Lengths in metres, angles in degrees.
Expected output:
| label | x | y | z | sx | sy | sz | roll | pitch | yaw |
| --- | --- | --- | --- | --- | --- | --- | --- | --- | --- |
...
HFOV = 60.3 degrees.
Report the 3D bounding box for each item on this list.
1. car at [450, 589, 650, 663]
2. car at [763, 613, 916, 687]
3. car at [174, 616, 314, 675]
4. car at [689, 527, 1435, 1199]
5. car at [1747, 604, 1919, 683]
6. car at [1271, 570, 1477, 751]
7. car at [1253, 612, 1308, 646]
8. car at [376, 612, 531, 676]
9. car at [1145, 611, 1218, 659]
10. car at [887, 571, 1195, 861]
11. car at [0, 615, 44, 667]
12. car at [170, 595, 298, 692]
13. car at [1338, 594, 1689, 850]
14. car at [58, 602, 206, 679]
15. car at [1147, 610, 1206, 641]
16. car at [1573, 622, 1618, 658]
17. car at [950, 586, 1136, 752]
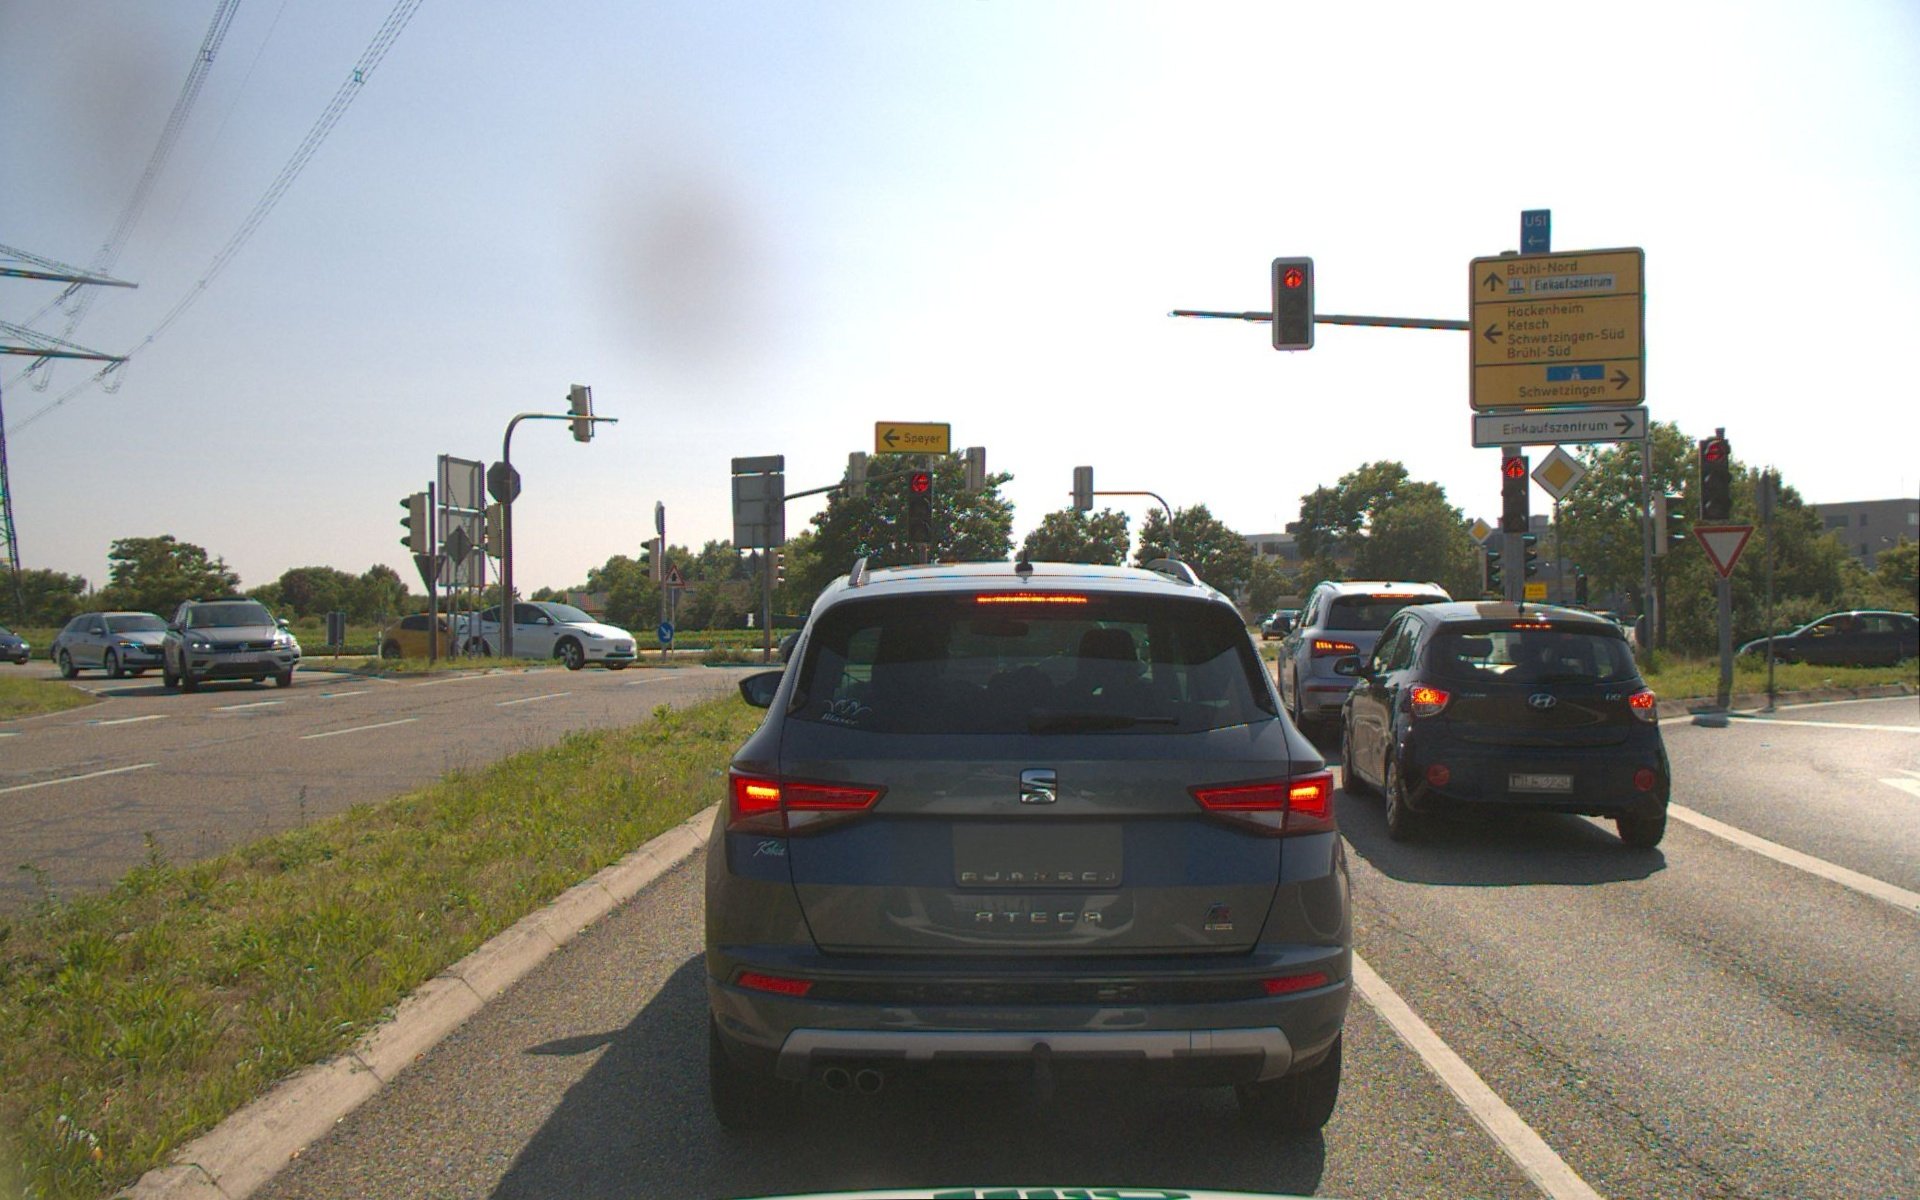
| label | x | y | z | sx | sy | sz | roll | pitch | yaw |
| --- | --- | --- | --- | --- | --- | --- | --- | --- | --- |
| car | -9.876 | 0.622 | 39.780 | 4.653 | 1.680 | 1.818 | -1 | 0 | 27 |
| car | -3.341 | 1.352 | 45.778 | 3.929 | 1.987 | 1.694 | 0 | -1 | 27 |
| car | -21.463 | 1.342 | 49.577 | 3.910 | 1.680 | 1.818 | -1 | 0 | 27 |
| car | 0.217 | 0.656 | 5.656 | 1.706 | 1.596 | 3.623 | 1 | 0 | -1 |
| car | 18.566 | 0.907 | 34.907 | 3.465 | 1.542 | 1.460 | 1 | 0 | 27 |
| car | 4.293 | 0.580 | 17.622 | 1.598 | 1.706 | 3.752 | 1 | 0 | 6 |
| car | 17.157 | 1.536 | 88.474 | 1.841 | 1.702 | 3.765 | 1 | 0 | 28 |
| car | -13.881 | 1.185 | 45.330 | 3.910 | 1.680 | 1.818 | -1 | 0 | 27 |
| car | 8.321 | 1.302 | 61.868 | 1.838 | 1.702 | 3.769 | 1 | 0 | 22 |
| car | 0.463 | 0.664 | 11.145 | 1.706 | 1.596 | 3.624 | 1 | 0 | 0 |
| car | -32.663 | 1.344 | 55.182 | 3.910 | 1.680 | 1.818 | -1 | 0 | 27 |
| car | -13.549 | 0.766 | 30.761 | 1.795 | 1.680 | 3.960 | 0 | 0 | -30 |
| car | 3.627 | 0.711 | 11.382 | 1.598 | 1.473 | 3.297 | 1 | 0 | 6 |
| car | -19.122 | 0.906 | 38.146 | 3.930 | 1.680 | 1.809 | -1 | -1 | 43 |
| car | 11.167 | 1.307 | 85.020 | 1.686 | 1.524 | 3.762 | 1 | 0 | 30 |
| car | 31.604 | 1.952 | 82.243 | 1.839 | 1.702 | 3.767 | 1 | 0 | 24 |
| car | 0.918 | 0.654 | 17.273 | 1.705 | 1.510 | 3.626 | 1 | 0 | 4 |
